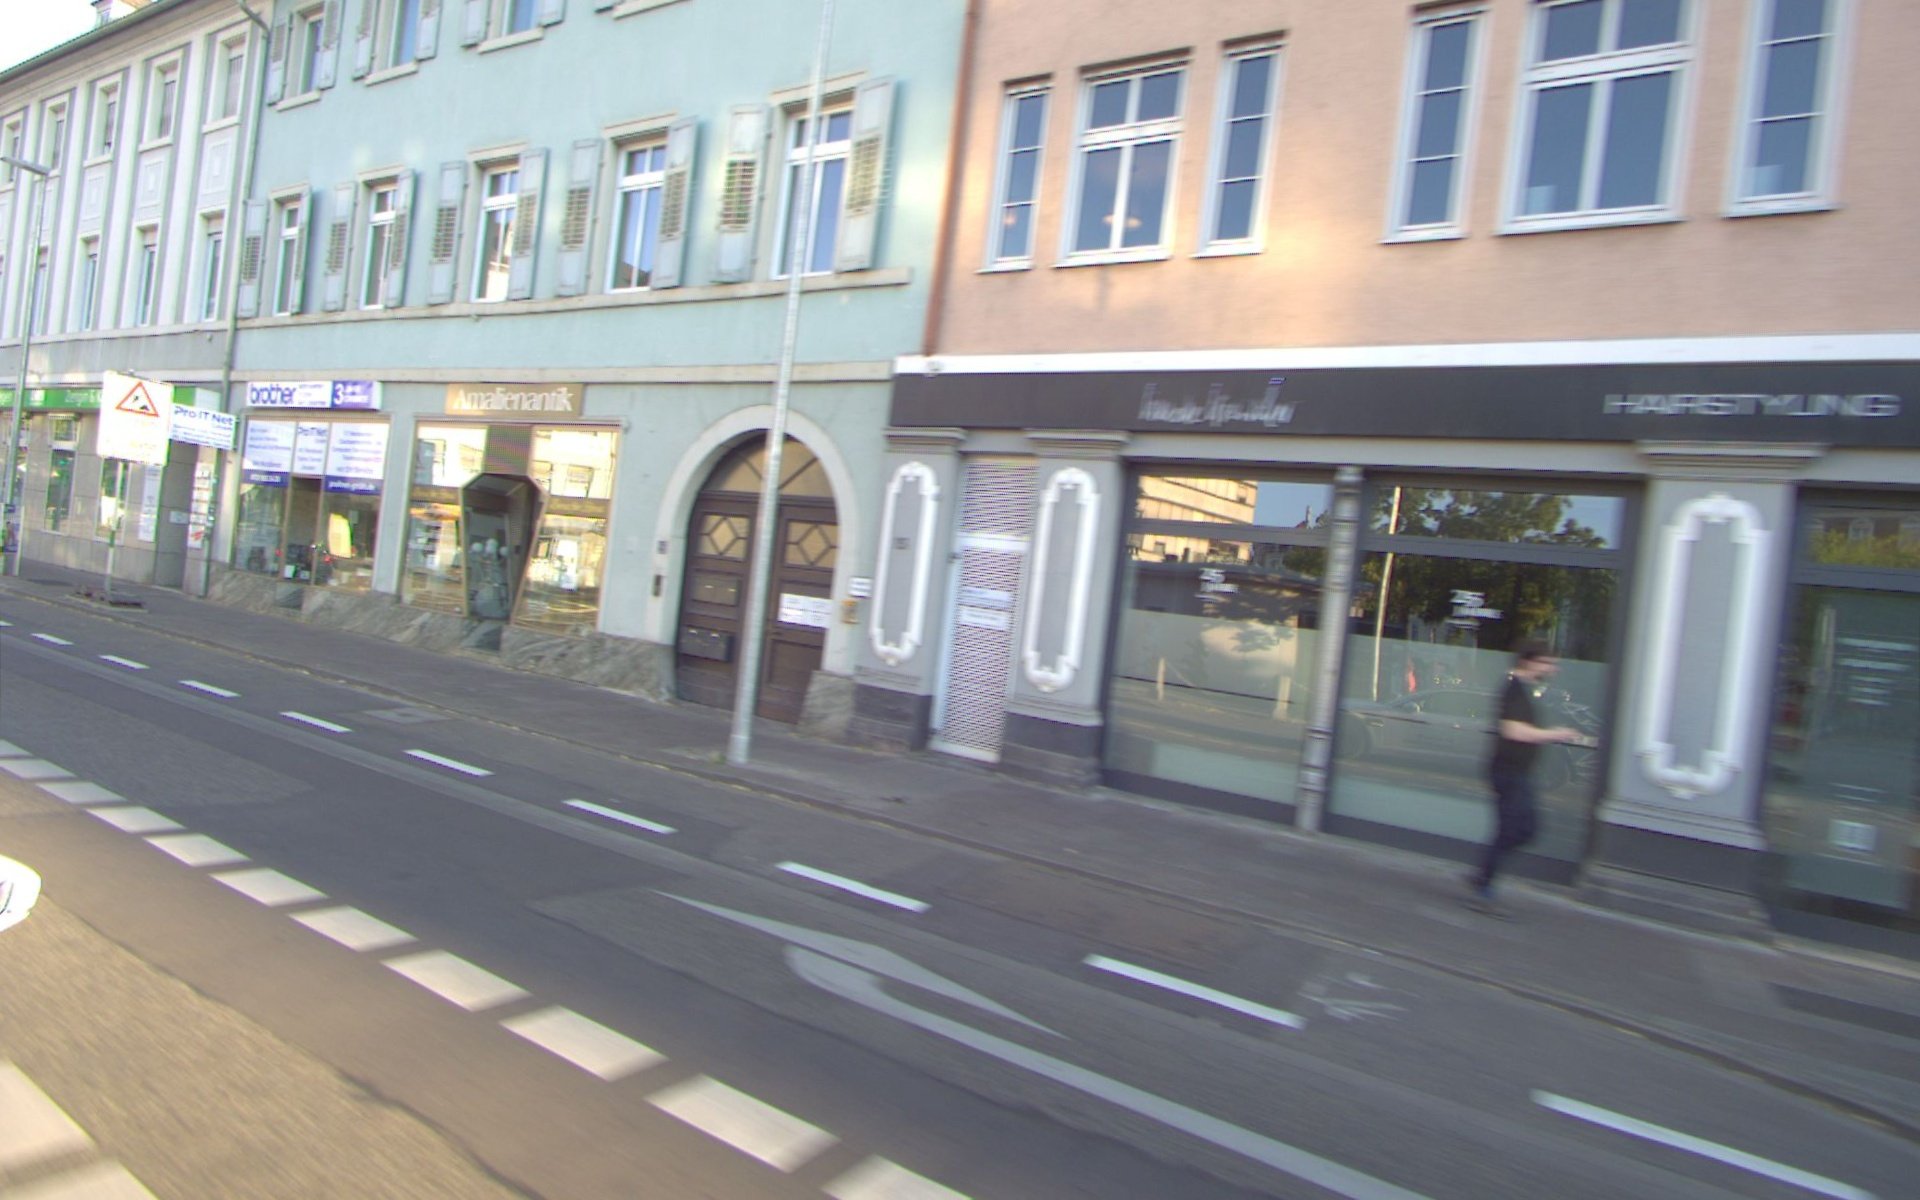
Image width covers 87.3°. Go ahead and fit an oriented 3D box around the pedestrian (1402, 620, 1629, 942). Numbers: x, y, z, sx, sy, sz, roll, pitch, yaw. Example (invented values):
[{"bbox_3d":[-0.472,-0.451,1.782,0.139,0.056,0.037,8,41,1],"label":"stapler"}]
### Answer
[{"bbox_3d":[3.550,1.105,6.521,1.030,1.798,0.759,7,0,26],"label":"pedestrian"}]
